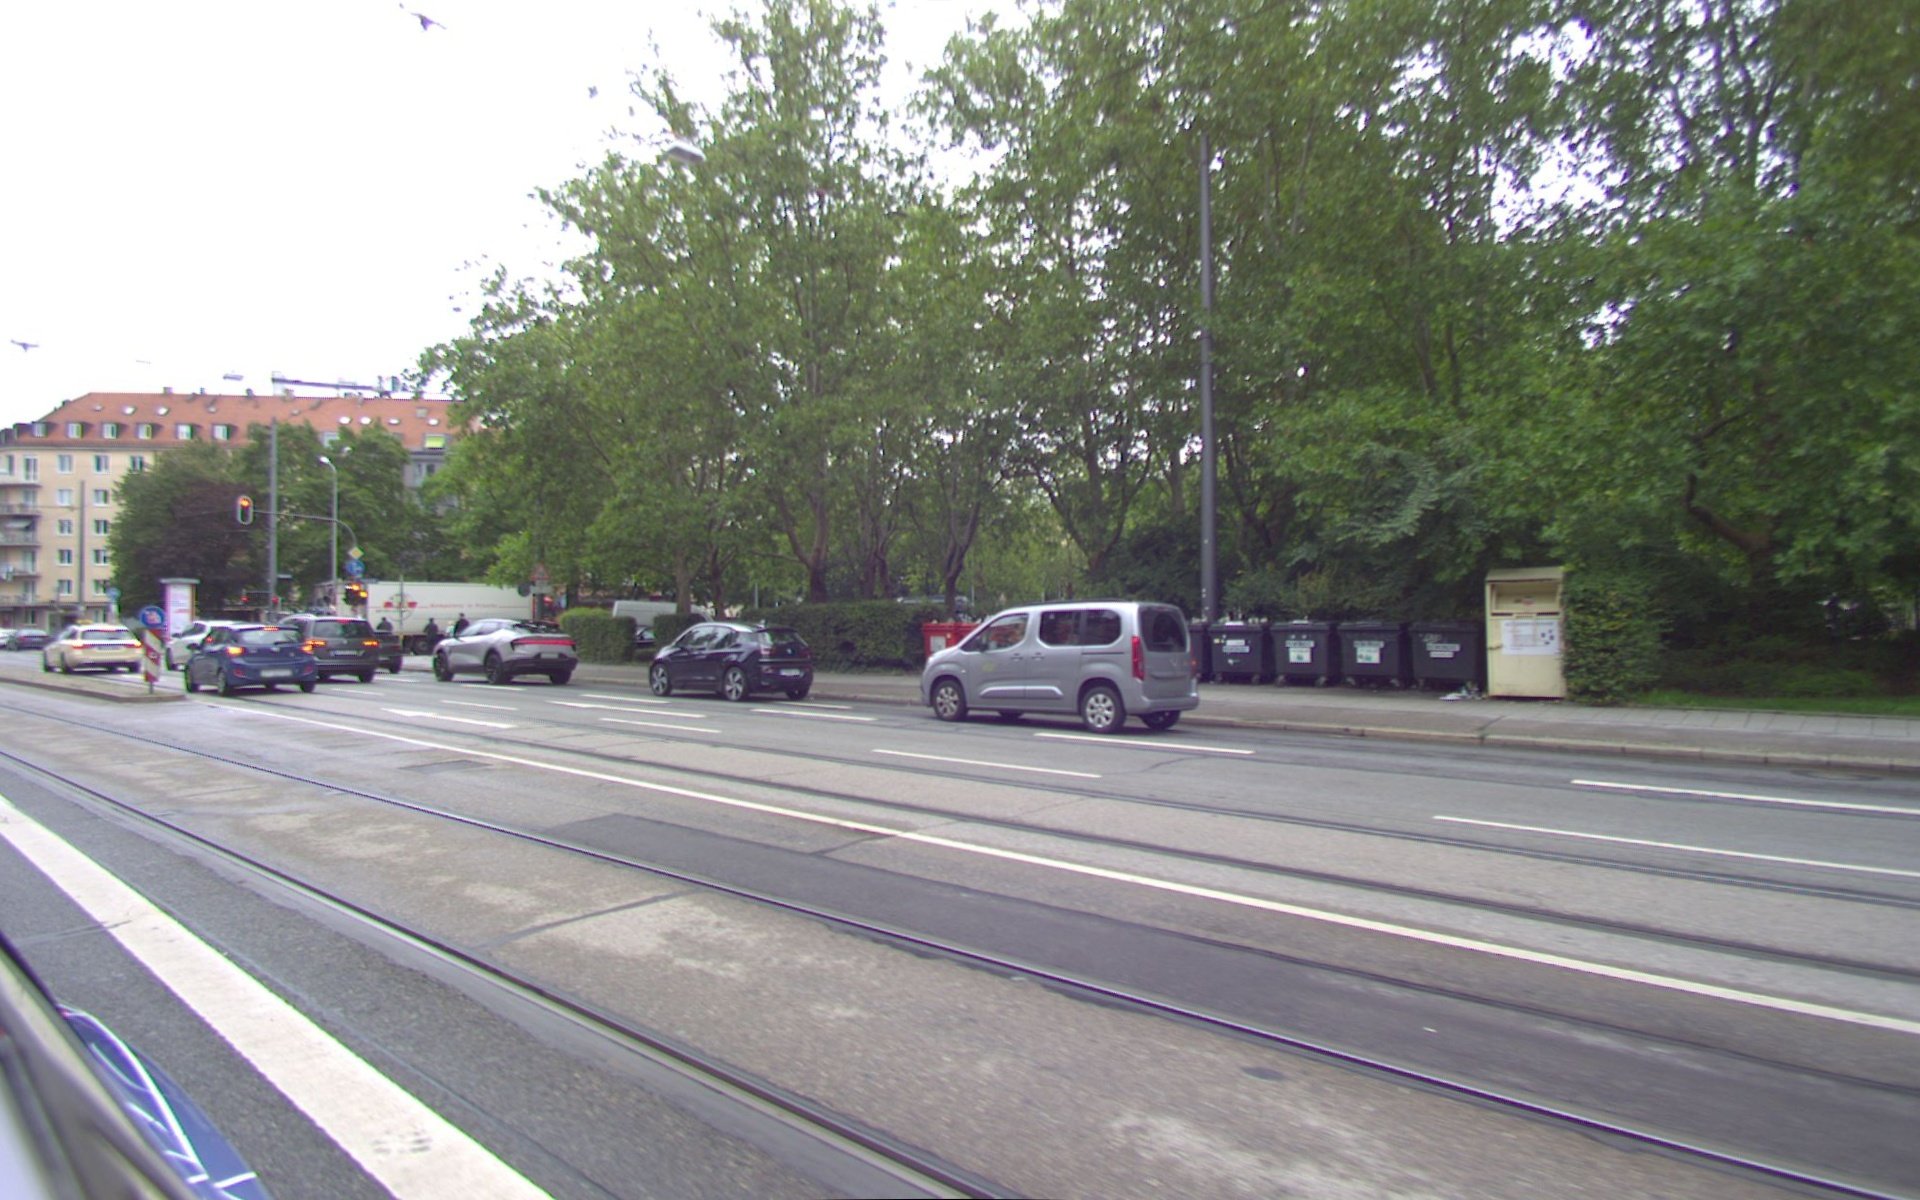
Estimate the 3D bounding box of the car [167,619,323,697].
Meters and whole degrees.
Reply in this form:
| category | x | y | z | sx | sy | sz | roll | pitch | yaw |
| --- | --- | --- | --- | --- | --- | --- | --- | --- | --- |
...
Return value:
| category | x | y | z | sx | sy | sz | roll | pitch | yaw |
| --- | --- | --- | --- | --- | --- | --- | --- | --- | --- |
| car | -15.591 | 1.190 | 21.983 | 4.352 | 1.534 | 1.780 | -1 | -2 | 41 |

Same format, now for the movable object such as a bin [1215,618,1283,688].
| category | x | y | z | sx | sy | sz | roll | pitch | yaw |
| --- | --- | --- | --- | --- | --- | --- | --- | --- | --- |
| movable object such as a bin | 6.034 | 1.087 | 21.142 | 1.081 | 1.363 | 0.926 | -2 | 1 | 36 |

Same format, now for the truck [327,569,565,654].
| category | x | y | z | sx | sy | sz | roll | pitch | yaw |
| --- | --- | --- | --- | --- | --- | --- | --- | --- | --- |
| truck | -26.636 | 0.798 | 53.493 | 2.737 | 4.011 | 11.596 | -1 | -3 | 29 |

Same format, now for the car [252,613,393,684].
| category | x | y | z | sx | sy | sz | roll | pitch | yaw |
| --- | --- | --- | --- | --- | --- | --- | --- | --- | --- |
| car | -16.905 | 1.241 | 26.747 | 4.888 | 1.696 | 1.803 | -2 | -2 | 41 |

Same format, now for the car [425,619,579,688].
| category | x | y | z | sx | sy | sz | roll | pitch | yaw |
| --- | --- | --- | --- | --- | --- | --- | --- | --- | --- |
| car | -12.146 | 1.360 | 26.661 | 4.996 | 1.655 | 1.780 | -2 | -2 | 41 |

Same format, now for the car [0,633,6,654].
| category | x | y | z | sx | sy | sz | roll | pitch | yaw |
| --- | --- | --- | --- | --- | --- | --- | --- | --- | --- |
| car | -68.557 | 3.037 | 70.902 | 4.366 | 1.418 | 1.710 | -1 | -2 | 36 |

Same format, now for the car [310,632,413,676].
| category | x | y | z | sx | sy | sz | roll | pitch | yaw |
| --- | --- | --- | --- | --- | --- | --- | --- | --- | --- |
| car | -20.224 | 1.787 | 34.137 | 4.096 | 1.391 | 1.803 | -2 | -2 | 41 |

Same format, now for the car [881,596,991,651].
| category | x | y | z | sx | sy | sz | roll | pitch | yaw |
| --- | --- | --- | --- | --- | --- | --- | --- | --- | --- |
| car | -1.289 | 1.218 | 51.657 | 5.864 | 2.554 | 1.972 | -4 | -3 | 43 |

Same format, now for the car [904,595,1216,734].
| category | x | y | z | sx | sy | sz | roll | pitch | yaw |
| --- | --- | --- | --- | --- | --- | --- | --- | --- | --- |
| car | 1.379 | 0.899 | 15.198 | 4.470 | 1.793 | 1.780 | -2 | -2 | 41 |

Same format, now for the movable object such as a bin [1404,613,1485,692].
| category | x | y | z | sx | sy | sz | roll | pitch | yaw |
| --- | --- | --- | --- | --- | --- | --- | --- | --- | --- |
| movable object such as a bin | 8.891 | 0.939 | 18.568 | 1.156 | 1.363 | 0.926 | -2 | 1 | 36 |

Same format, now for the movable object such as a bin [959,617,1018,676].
| category | x | y | z | sx | sy | sz | roll | pitch | yaw |
| --- | --- | --- | --- | --- | --- | --- | --- | --- | --- |
| movable object such as a bin | 0.719 | 1.171 | 25.642 | 1.081 | 1.363 | 0.926 | -2 | 3 | 36 |

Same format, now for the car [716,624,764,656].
| category | x | y | z | sx | sy | sz | roll | pitch | yaw |
| --- | --- | --- | --- | --- | --- | --- | --- | --- | --- |
| car | -11.636 | 2.119 | 53.493 | 1.445 | 1.593 | 2.838 | 0 | -3 | -36 |

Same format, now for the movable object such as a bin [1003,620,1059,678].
| category | x | y | z | sx | sy | sz | roll | pitch | yaw |
| --- | --- | --- | --- | --- | --- | --- | --- | --- | --- |
| movable object such as a bin | 1.718 | 1.169 | 24.613 | 1.012 | 1.363 | 0.926 | -2 | -1 | 36 |

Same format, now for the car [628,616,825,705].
| category | x | y | z | sx | sy | sz | roll | pitch | yaw |
| --- | --- | --- | --- | --- | --- | --- | --- | --- | --- |
| car | -4.930 | 1.197 | 21.080 | 4.352 | 1.679 | 1.780 | -2 | -2 | 41 |

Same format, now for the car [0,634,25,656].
| category | x | y | z | sx | sy | sz | roll | pitch | yaw |
| --- | --- | --- | --- | --- | --- | --- | --- | --- | --- |
| car | -64.297 | 2.992 | 67.739 | 4.366 | 1.418 | 1.710 | -1 | -2 | 36 |

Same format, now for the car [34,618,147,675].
| category | x | y | z | sx | sy | sz | roll | pitch | yaw |
| --- | --- | --- | --- | --- | --- | --- | --- | --- | --- |
| car | -26.882 | 1.395 | 31.238 | 4.886 | 1.651 | 1.804 | -2 | -2 | 39 |

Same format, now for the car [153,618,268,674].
| category | x | y | z | sx | sy | sz | roll | pitch | yaw |
| --- | --- | --- | --- | --- | --- | --- | --- | --- | --- |
| car | -24.338 | 1.450 | 32.806 | 4.887 | 1.696 | 1.895 | -2 | -2 | 40 |

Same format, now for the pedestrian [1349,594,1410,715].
| category | x | y | z | sx | sy | sz | roll | pitch | yaw |
| --- | --- | --- | --- | --- | --- | --- | --- | --- | --- |
| pedestrian | 7.208 | 0.927 | 17.390 | 0.606 | 2.029 | 0.680 | 0 | -3 | -42 |

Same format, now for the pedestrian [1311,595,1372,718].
| category | x | y | z | sx | sy | sz | roll | pitch | yaw |
| --- | --- | --- | --- | --- | --- | --- | --- | --- | --- |
| pedestrian | 6.482 | 0.947 | 17.190 | 0.607 | 2.029 | 0.680 | 0 | -3 | -43 |

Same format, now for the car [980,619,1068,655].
| category | x | y | z | sx | sy | sz | roll | pitch | yaw |
| --- | --- | --- | --- | --- | --- | --- | --- | --- | --- |
| car | 3.199 | 1.874 | 50.858 | 3.995 | 1.674 | 1.974 | -4 | -3 | 39 |

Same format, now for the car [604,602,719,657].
| category | x | y | z | sx | sy | sz | roll | pitch | yaw |
| --- | --- | --- | --- | --- | --- | --- | --- | --- | --- |
| car | -13.185 | 1.323 | 45.005 | 4.555 | 2.029 | 2.004 | 5 | -3 | -8 |

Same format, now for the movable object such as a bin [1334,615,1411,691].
| category | x | y | z | sx | sy | sz | roll | pitch | yaw |
| --- | --- | --- | --- | --- | --- | --- | --- | --- | --- |
| movable object such as a bin | 7.907 | 0.993 | 19.406 | 1.156 | 1.363 | 0.926 | -2 | 1 | 36 |

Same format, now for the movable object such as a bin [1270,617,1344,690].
| category | x | y | z | sx | sy | sz | roll | pitch | yaw |
| --- | --- | --- | --- | --- | --- | --- | --- | --- | --- |
| movable object such as a bin | 6.954 | 1.050 | 20.261 | 1.156 | 1.363 | 0.926 | -2 | 1 | 36 |
